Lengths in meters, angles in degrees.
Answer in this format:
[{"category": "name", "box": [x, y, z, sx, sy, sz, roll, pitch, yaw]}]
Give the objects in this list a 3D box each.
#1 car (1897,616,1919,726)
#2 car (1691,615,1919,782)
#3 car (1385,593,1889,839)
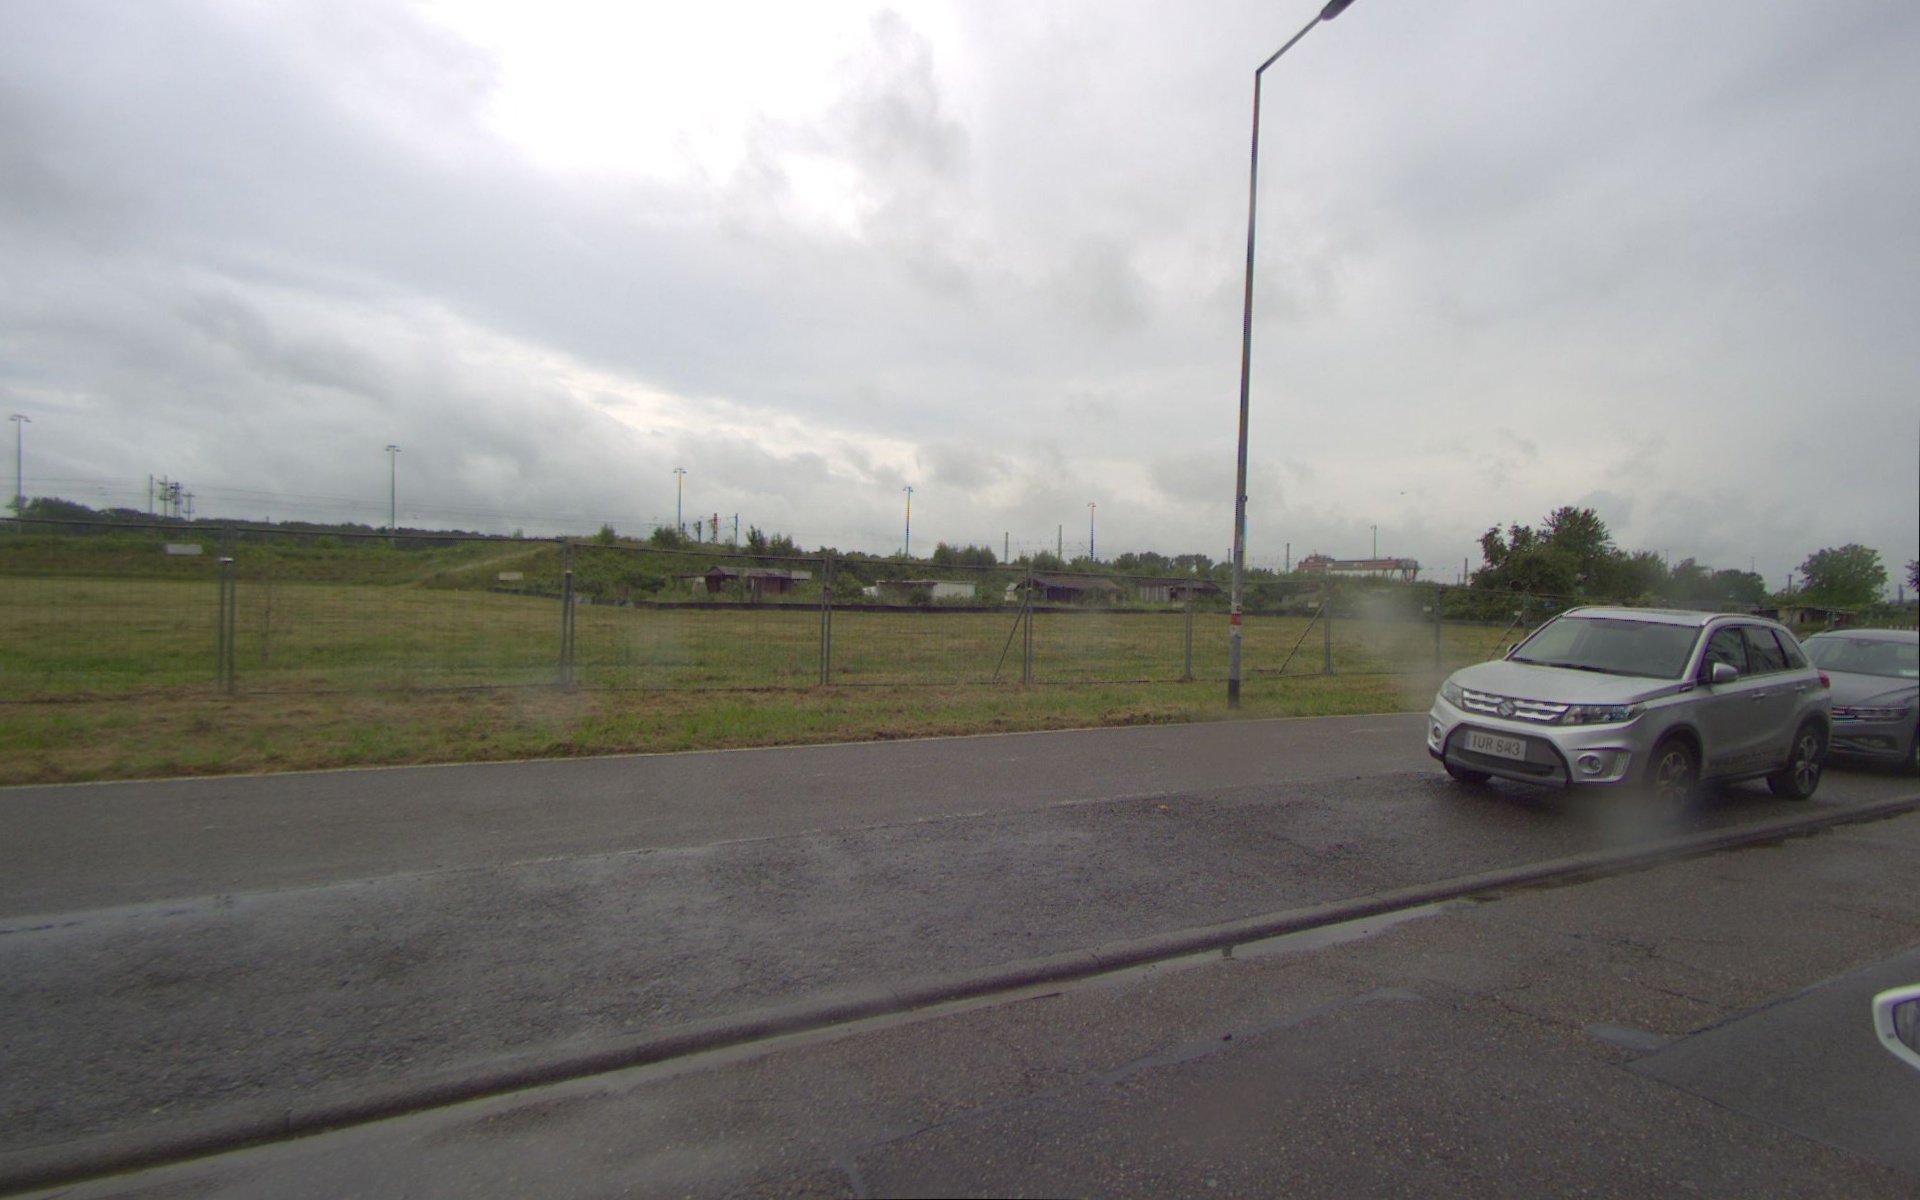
[{"category": "car", "box": [16.090, 1.127, 15.214, 4.164, 1.596, 1.716, 2, 1, -32]}, {"category": "car", "box": [10.949, 1.071, 11.982, 4.615, 1.549, 1.829, 2, 2, -30]}, {"category": "car", "box": [6.297, 0.874, 9.174, 4.932, 1.629, 1.843, 1, 4, -31]}]
